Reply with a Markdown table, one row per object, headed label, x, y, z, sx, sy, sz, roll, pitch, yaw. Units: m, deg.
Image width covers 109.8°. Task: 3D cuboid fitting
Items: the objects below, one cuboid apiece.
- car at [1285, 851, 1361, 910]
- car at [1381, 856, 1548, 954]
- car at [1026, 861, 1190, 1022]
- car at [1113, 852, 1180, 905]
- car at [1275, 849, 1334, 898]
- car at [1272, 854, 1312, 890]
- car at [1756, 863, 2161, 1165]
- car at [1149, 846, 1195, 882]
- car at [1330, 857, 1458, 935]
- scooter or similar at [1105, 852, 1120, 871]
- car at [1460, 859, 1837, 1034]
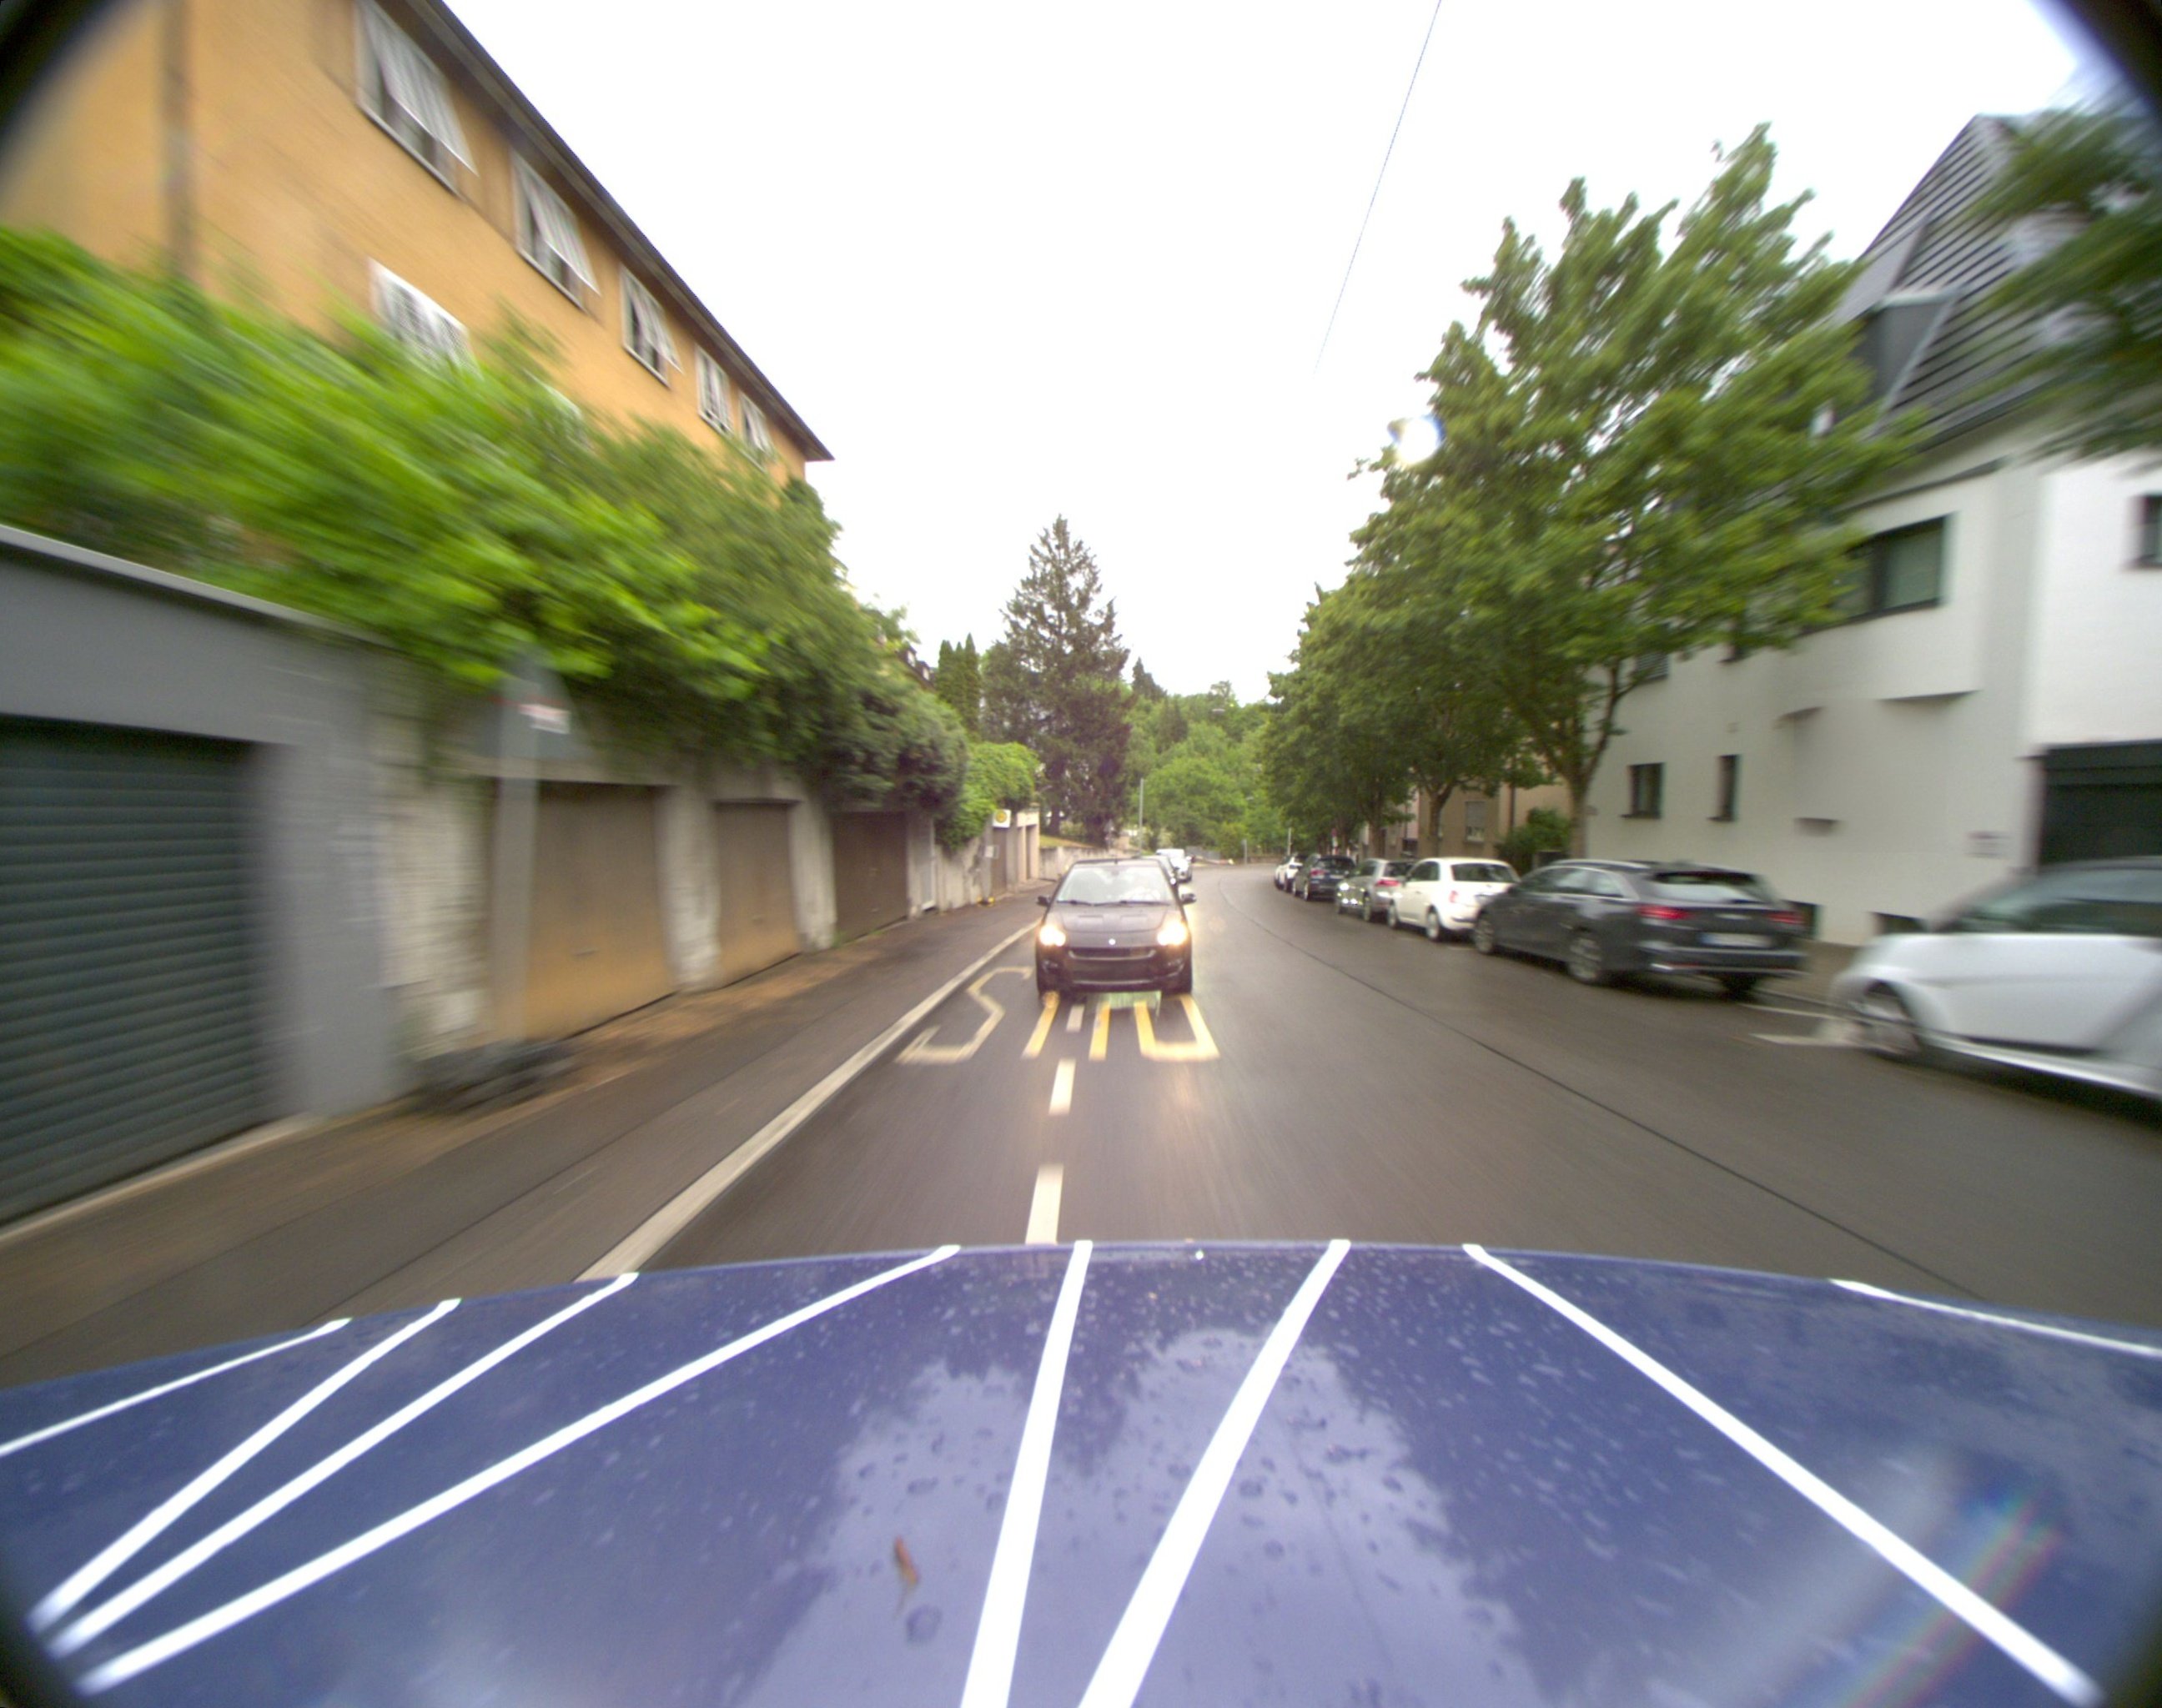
| label | x | y | z | sx | sy | sz | roll | pitch | yaw |
| --- | --- | --- | --- | --- | --- | --- | --- | --- | --- |
| car | 8.008 | 0.827 | 25.490 | 1.621 | 1.649 | 3.925 | 4 | 2 | 7 |
| car | 6.934 | 0.833 | 14.123 | 1.577 | 1.480 | 3.471 | 4 | 1 | 6 |
| car | 0.505 | 0.850 | 9.100 | 1.577 | 1.444 | 3.588 | 0 | 1 | 8 |
| car | 2.005 | 0.721 | 24.294 | 1.807 | 1.480 | 4.017 | 2 | 1 | 1 |
| car | 9.002 | 0.723 | 30.853 | 1.595 | 1.649 | 3.925 | 5 | 2 | 8 |
| car | 9.892 | 0.800 | 35.783 | 1.620 | 1.463 | 3.672 | 6 | 2 | 14 |
| car | 6.561 | 0.913 | 4.828 | 1.558 | 1.502 | 3.384 | 3 | 2 | 4 |
| car | 4.593 | 0.445 | 37.789 | 2.011 | 1.652 | 4.448 | 2 | 1 | 10 |
| car | 7.227 | 0.888 | 17.966 | 1.621 | 1.462 | 3.973 | 3 | 2 | 5 |
| scooter or similar | 1.929 | 0.456 | 45.697 | 0.598 | 1.126 | 1.372 | 2 | 1 | 14 |
| car | 6.634 | 0.913 | 9.656 | 1.667 | 1.480 | 4.476 | 4 | 2 | 5 |
